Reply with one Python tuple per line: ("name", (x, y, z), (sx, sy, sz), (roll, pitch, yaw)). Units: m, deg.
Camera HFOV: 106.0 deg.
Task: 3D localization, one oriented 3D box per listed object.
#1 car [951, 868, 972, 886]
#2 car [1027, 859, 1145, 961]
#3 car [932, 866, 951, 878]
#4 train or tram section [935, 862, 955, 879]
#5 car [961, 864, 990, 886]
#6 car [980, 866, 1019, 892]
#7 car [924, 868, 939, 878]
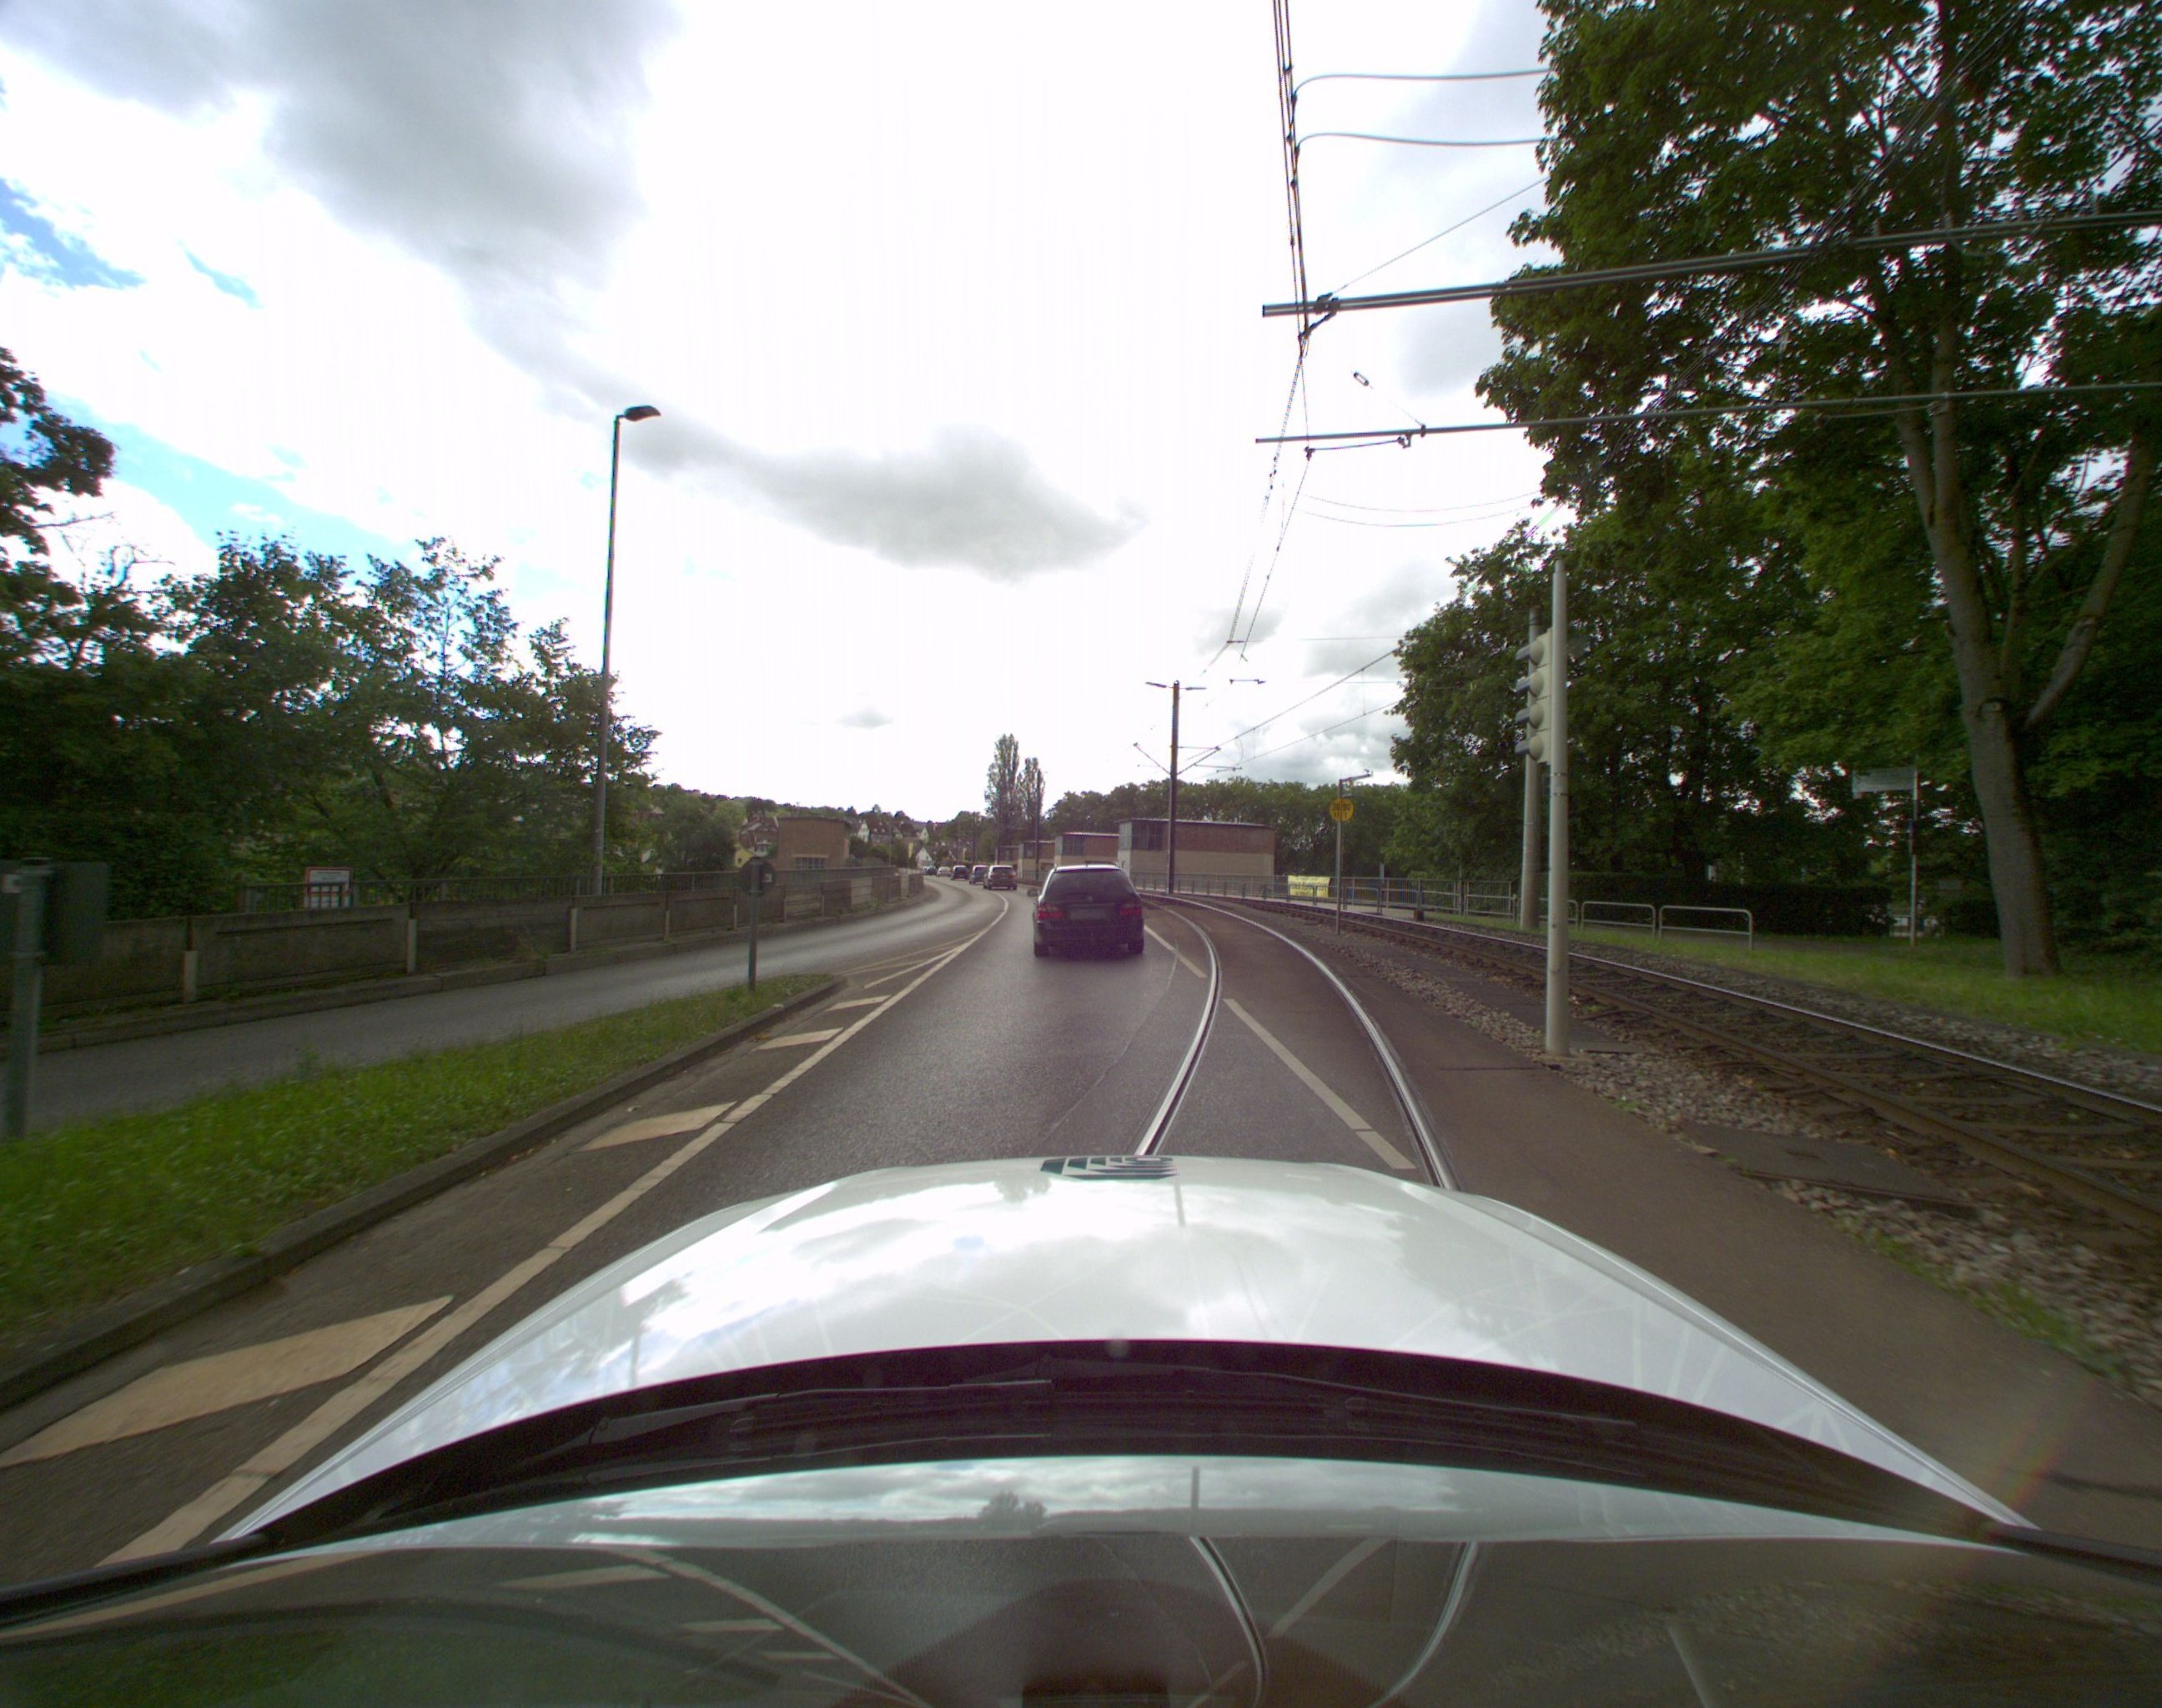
("car", (-12.221, 2.294, 82.866), (1.994, 1.673, 4.524), (-1, 0, -10))
("car", (0.179, 0.859, 14.465), (1.752, 1.516, 4.445), (-1, 0, 3))
("car", (-18.677, 2.411, 108.966), (1.997, 1.571, 4.880), (2, -1, -15))
("train or tram section", (-29.389, 3.580, 174.981), (2.886, 3.510, 18.575), (0, -1, -14))
("car", (-8.418, 1.668, 64.660), (1.994, 1.564, 4.978), (-1, 0, -11))
("car", (-5.120, 1.531, 50.654), (1.773, 1.555, 4.218), (1, -1, -15))
("car", (-24.234, 3.095, 131.887), (1.997, 1.571, 4.879), (2, -1, -16))
